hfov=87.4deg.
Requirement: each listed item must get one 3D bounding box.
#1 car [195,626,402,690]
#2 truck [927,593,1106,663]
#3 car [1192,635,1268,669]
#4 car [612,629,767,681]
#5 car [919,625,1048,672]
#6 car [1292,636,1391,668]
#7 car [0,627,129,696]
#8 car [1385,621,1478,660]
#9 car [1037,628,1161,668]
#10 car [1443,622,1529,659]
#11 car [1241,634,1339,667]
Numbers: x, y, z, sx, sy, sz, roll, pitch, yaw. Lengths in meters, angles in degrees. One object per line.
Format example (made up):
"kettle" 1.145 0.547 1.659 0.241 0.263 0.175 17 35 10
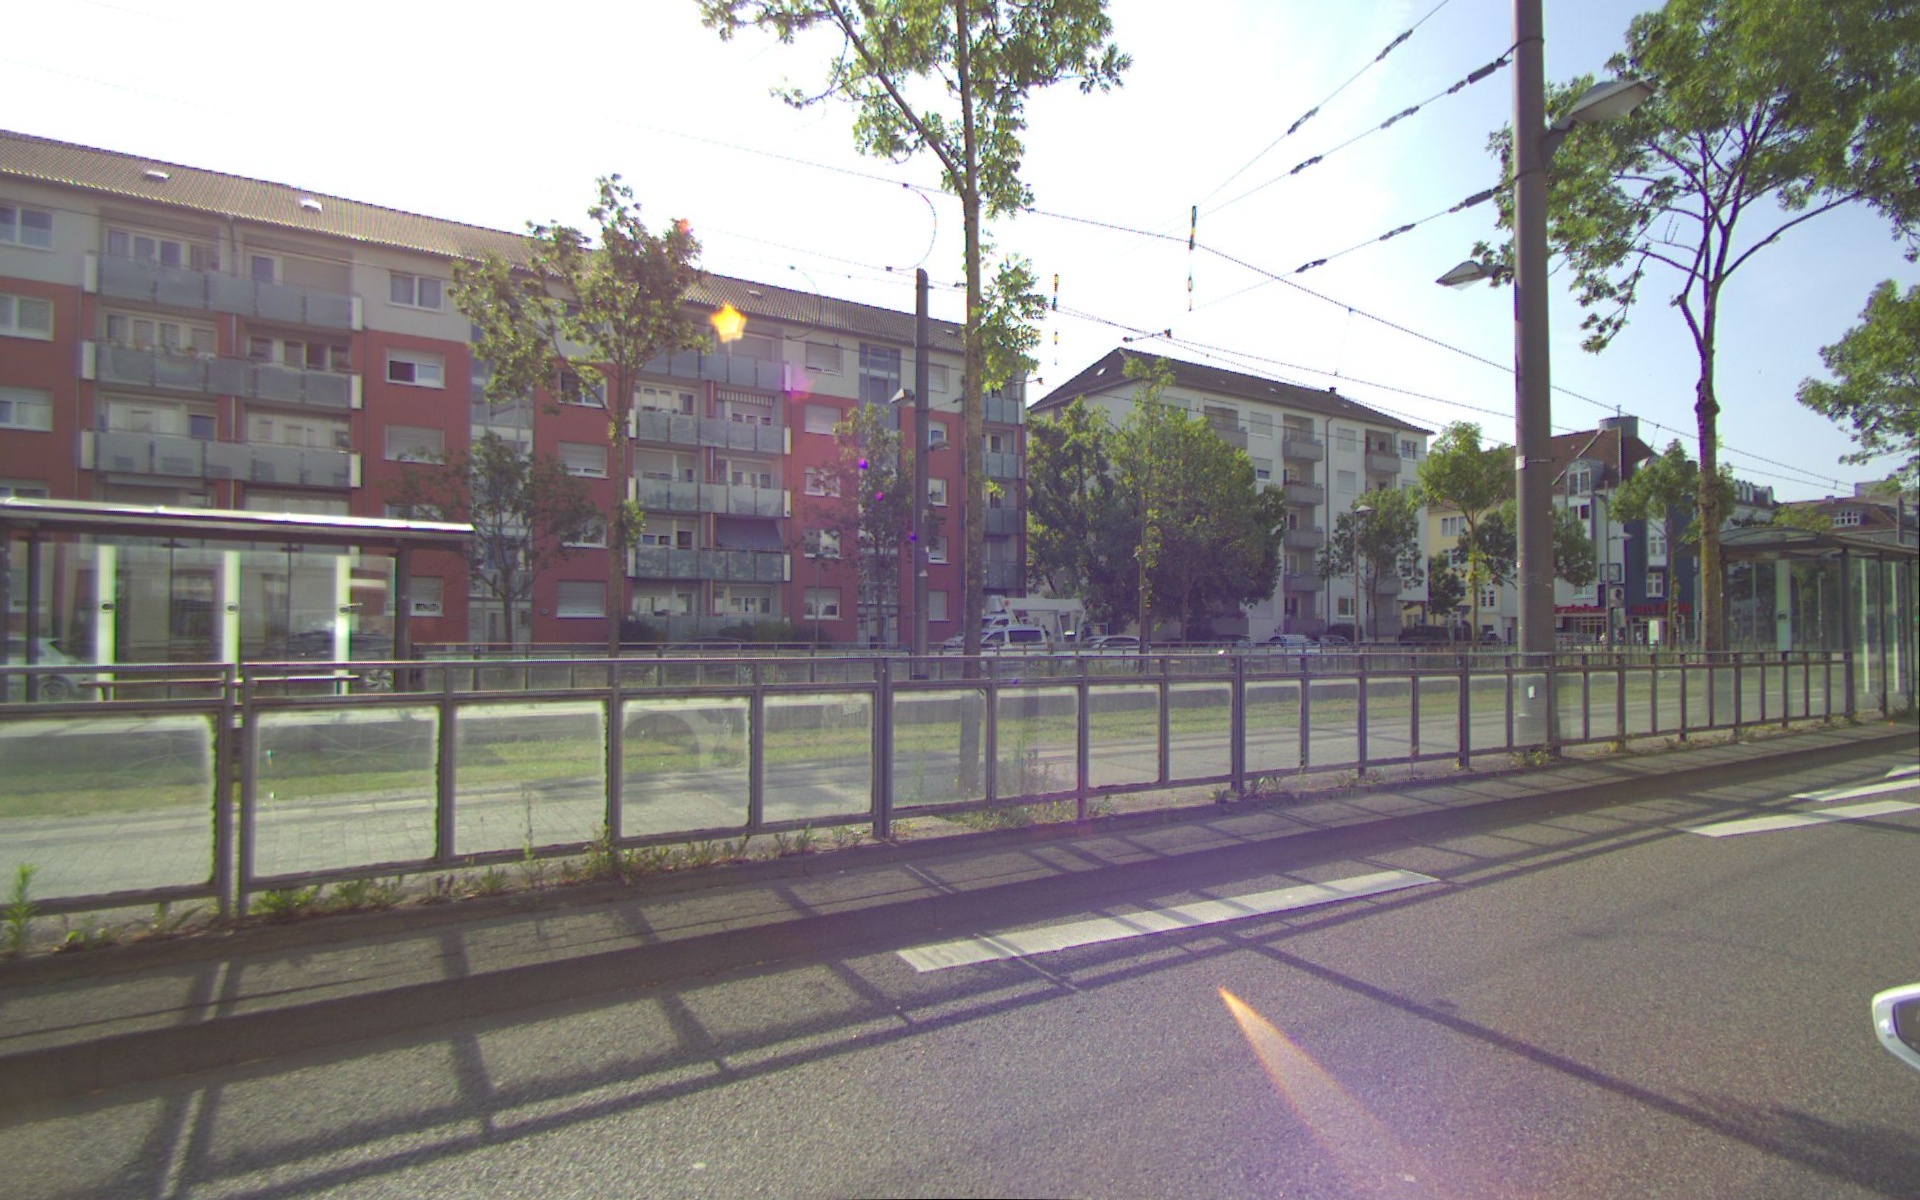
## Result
"car" -15.913 1.368 24.347 4.027 1.378 1.969 2 -1 -34
"truck" 2.357 1.131 40.269 7.166 2.597 2.351 2 -1 -34
"car" 10.672 2.052 39.988 1.797 1.260 3.999 0 -2 -2
"car" -8.013 1.603 29.863 4.027 1.378 1.969 2 -1 -34
"car" 0.856 1.705 35.603 4.236 1.533 1.969 2 -1 -34
"car" 16.074 2.178 42.569 1.908 1.260 3.986 1 -2 -17
"car" -20.597 1.302 21.545 4.027 1.378 1.969 2 -1 -34
"car" 26.531 2.245 56.487 5.256 2.057 2.351 2 -1 -34
"car" 5.396 1.839 38.733 4.635 1.397 1.968 2 -1 -34
"car" 31.392 2.390 59.898 5.256 2.057 2.351 2 -1 -34
"car" 13.622 2.065 41.686 1.908 1.260 3.986 1 -2 -17
